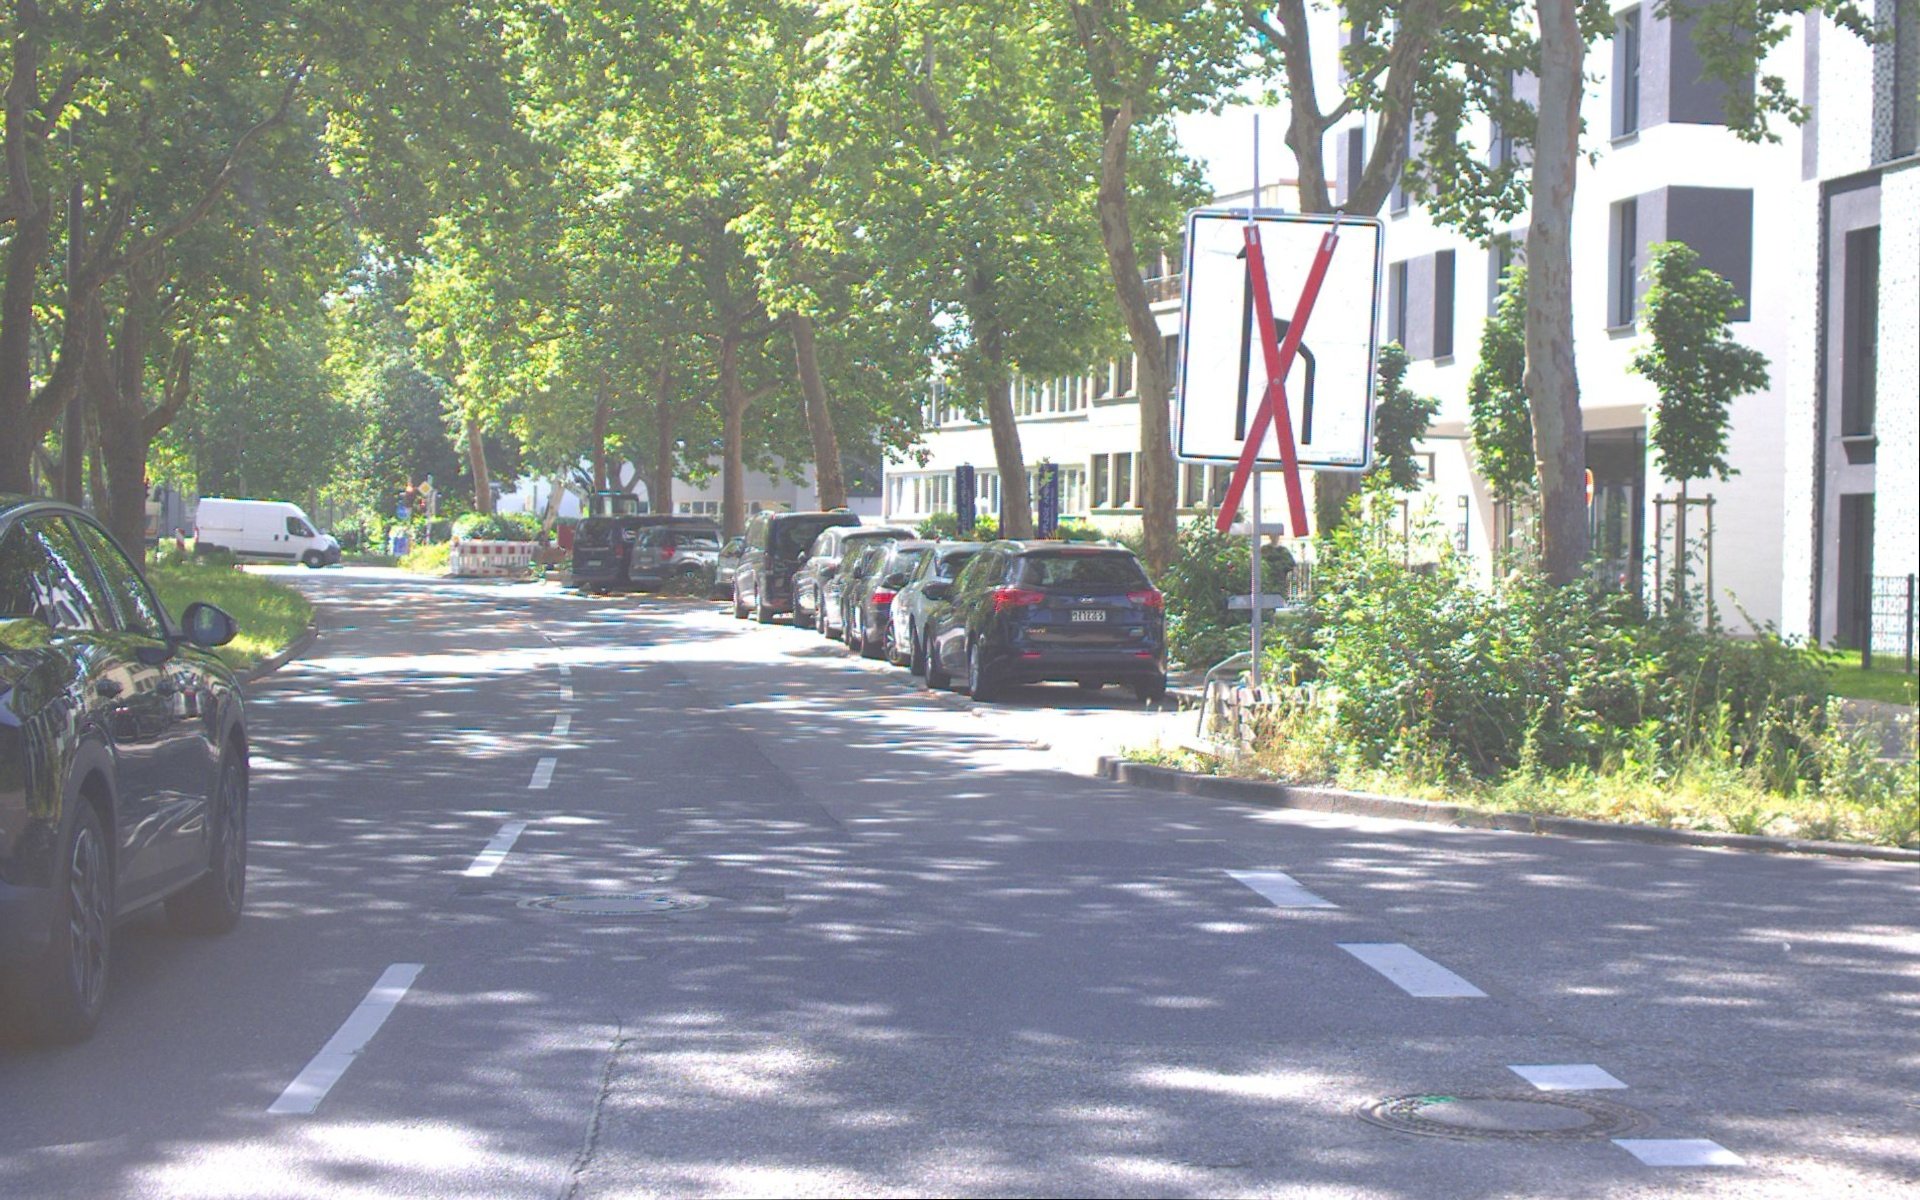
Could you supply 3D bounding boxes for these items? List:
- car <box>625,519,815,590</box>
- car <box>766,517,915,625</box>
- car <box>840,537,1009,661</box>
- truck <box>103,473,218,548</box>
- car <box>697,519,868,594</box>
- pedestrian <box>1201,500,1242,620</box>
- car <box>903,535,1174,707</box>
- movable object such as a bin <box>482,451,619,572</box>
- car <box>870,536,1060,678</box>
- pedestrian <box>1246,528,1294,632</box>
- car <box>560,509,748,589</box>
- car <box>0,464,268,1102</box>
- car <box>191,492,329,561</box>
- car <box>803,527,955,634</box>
[{"bbox_3d":[-5.638,-1.061,80.743,4.099,1.627,1.713,0,1,-26],"label":"car"},{"bbox_3d":[-1.978,-0.498,55.633,1.706,1.664,4.535,0,1,-11],"label":"car"},{"bbox_3d":[-0.510,-0.052,43.578,1.706,1.450,4.657,1,1,-6],"label":"car"},{"bbox_3d":[-40.050,-4.497,172.273,5.525,3.665,2.001,0,1,-12],"label":"truck"},{"bbox_3d":[-3.964,-0.974,76.549,3.551,1.634,1.660,0,1,-13],"label":"car"},{"bbox_3d":[3.957,-0.608,52.079,0.475,1.802,0.637,1,1,-7],"label":"pedestrian"},{"bbox_3d":[0.670,0.136,32.897,1.706,1.482,4.720,0,2,-10],"label":"car"},{"bbox_3d":[-11.229,-2.427,94.132,2.328,3.230,3.430,0,2,-36],"label":"movable object such as a bin"},{"bbox_3d":[0.005,0.040,38.724,1.706,1.482,4.102,1,1,-6],"label":"car"},{"bbox_3d":[4.718,-0.304,52.315,0.613,1.575,0.570,1,1,-7],"label":"pedestrian"},{"bbox_3d":[-7.334,-1.223,82.318,4.099,1.873,1.785,0,1,-28],"label":"car"},{"bbox_3d":[-3.531,0.444,11.273,1.872,1.690,4.436,0,1,-4],"label":"car"},{"bbox_3d":[-26.450,-2.761,129.879,4.980,2.533,2.001,0,1,-14],"label":"car"},{"bbox_3d":[-1.233,-0.320,50.588,1.706,1.482,4.486,0,1,-8],"label":"car"}]
